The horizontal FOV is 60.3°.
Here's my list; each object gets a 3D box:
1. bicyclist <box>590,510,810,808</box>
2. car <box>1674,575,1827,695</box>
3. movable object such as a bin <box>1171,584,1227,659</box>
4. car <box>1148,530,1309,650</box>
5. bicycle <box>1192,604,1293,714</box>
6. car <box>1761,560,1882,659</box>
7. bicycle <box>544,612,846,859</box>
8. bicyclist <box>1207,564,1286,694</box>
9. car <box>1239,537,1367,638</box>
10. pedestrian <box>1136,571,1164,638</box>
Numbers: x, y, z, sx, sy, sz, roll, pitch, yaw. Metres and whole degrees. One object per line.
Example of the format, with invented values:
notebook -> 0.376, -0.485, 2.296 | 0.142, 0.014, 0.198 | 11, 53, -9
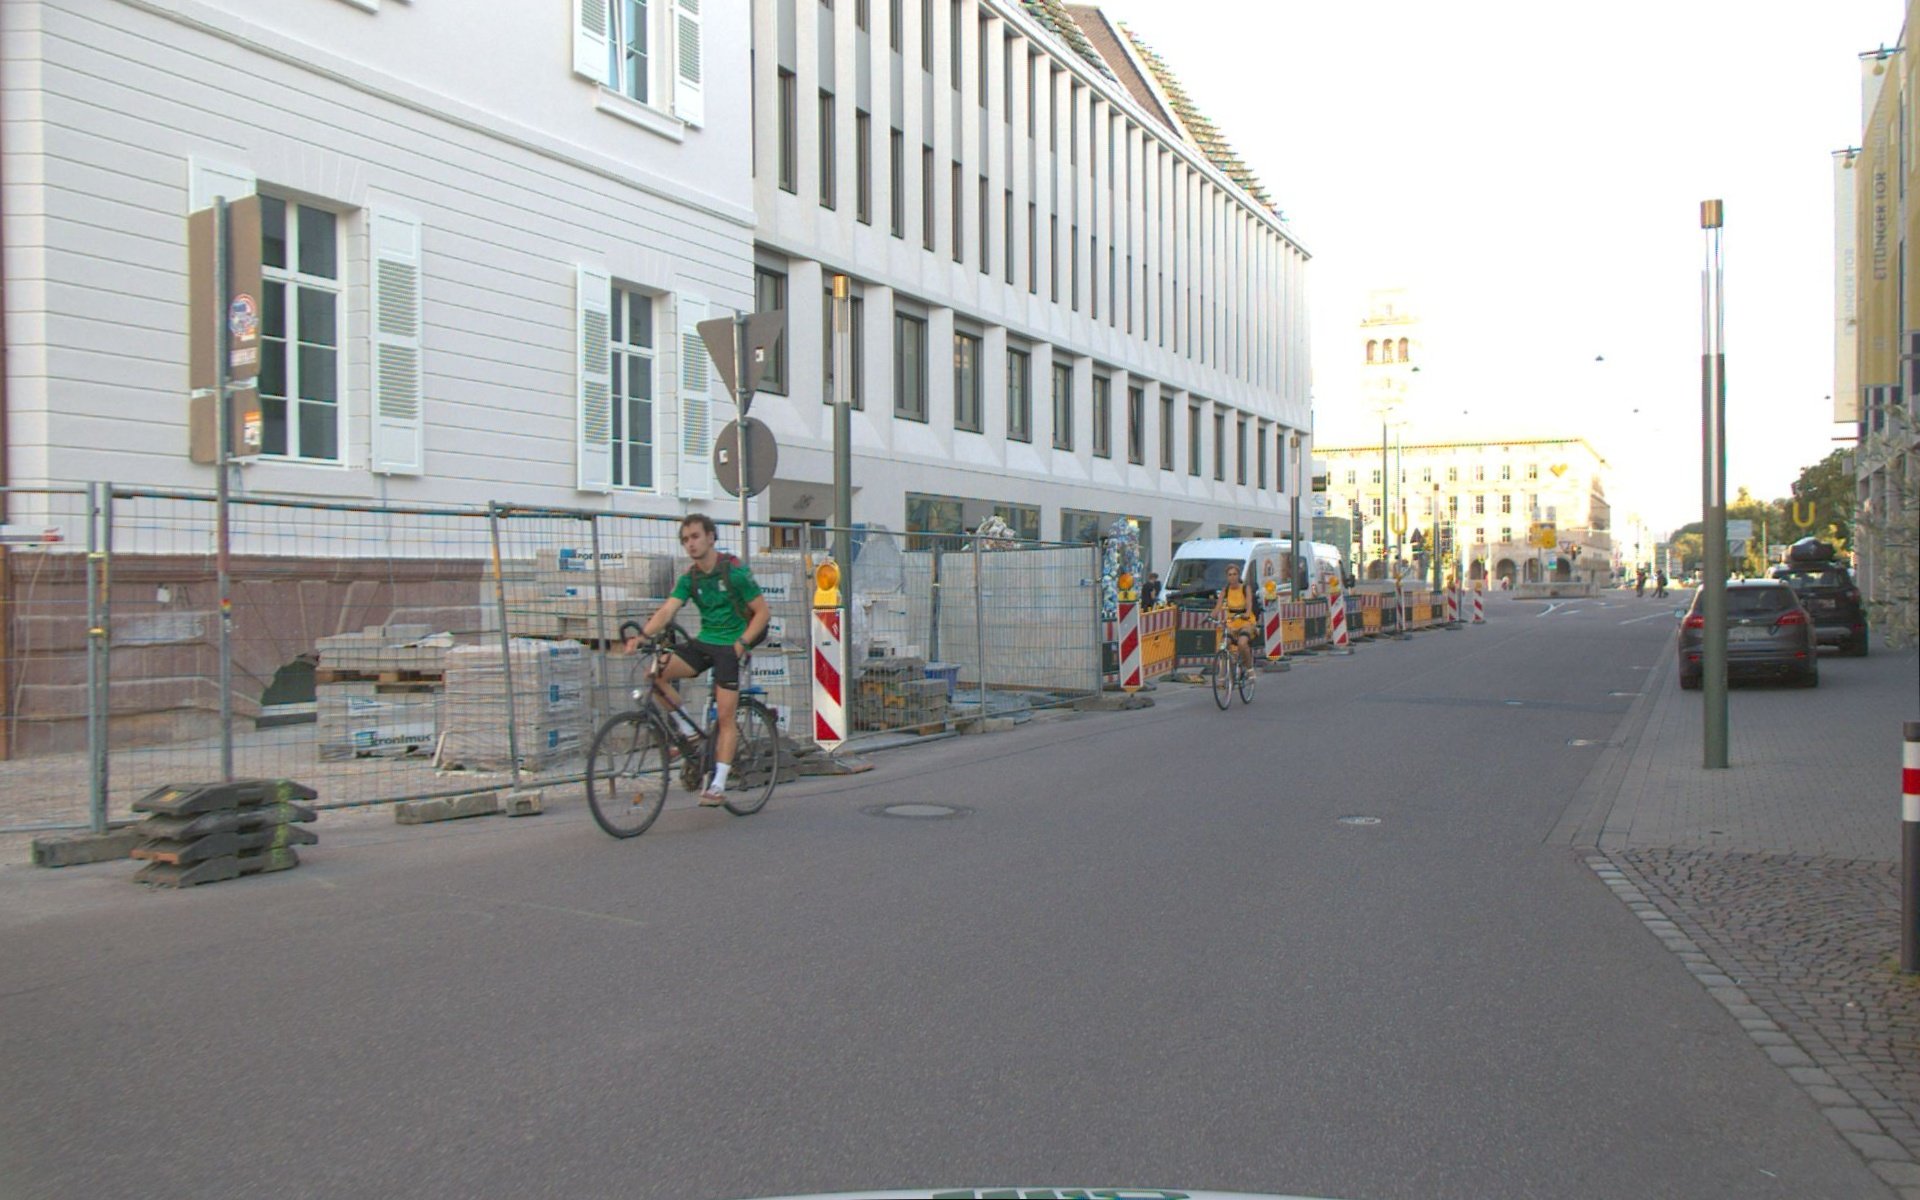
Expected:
bicyclist -> -1.506, 0.315, 9.770 | 0.780, 1.631, 1.231 | 0, 1, 20
car -> 11.397, 0.455, 23.957 | 1.759, 1.516, 4.190 | -4, -1, 25
movable object such as a bin -> 4.916, 0.421, 33.950 | 1.021, 1.492, 1.395 | 0, 1, 13
car -> 6.262, -0.261, 37.854 | 2.130, 2.513, 5.996 | 0, 1, 25
bicycle -> 3.507, 0.685, 20.394 | 0.780, 1.238, 2.233 | 0, 1, 22
car -> 16.142, 0.161, 31.155 | 1.733, 1.666, 4.055 | -4, -1, 25
bicycle -> -1.487, 0.716, 9.822 | 0.780, 1.238, 2.234 | 0, 1, 20
bicyclist -> 3.556, 0.339, 20.470 | 0.780, 1.559, 0.974 | 0, 1, 22
car -> 9.340, -0.365, 44.638 | 2.130, 2.513, 5.996 | 0, 1, 24
pedestrian -> 4.581, 0.108, 39.792 | 0.531, 1.605, 0.579 | 0, 0, 23
